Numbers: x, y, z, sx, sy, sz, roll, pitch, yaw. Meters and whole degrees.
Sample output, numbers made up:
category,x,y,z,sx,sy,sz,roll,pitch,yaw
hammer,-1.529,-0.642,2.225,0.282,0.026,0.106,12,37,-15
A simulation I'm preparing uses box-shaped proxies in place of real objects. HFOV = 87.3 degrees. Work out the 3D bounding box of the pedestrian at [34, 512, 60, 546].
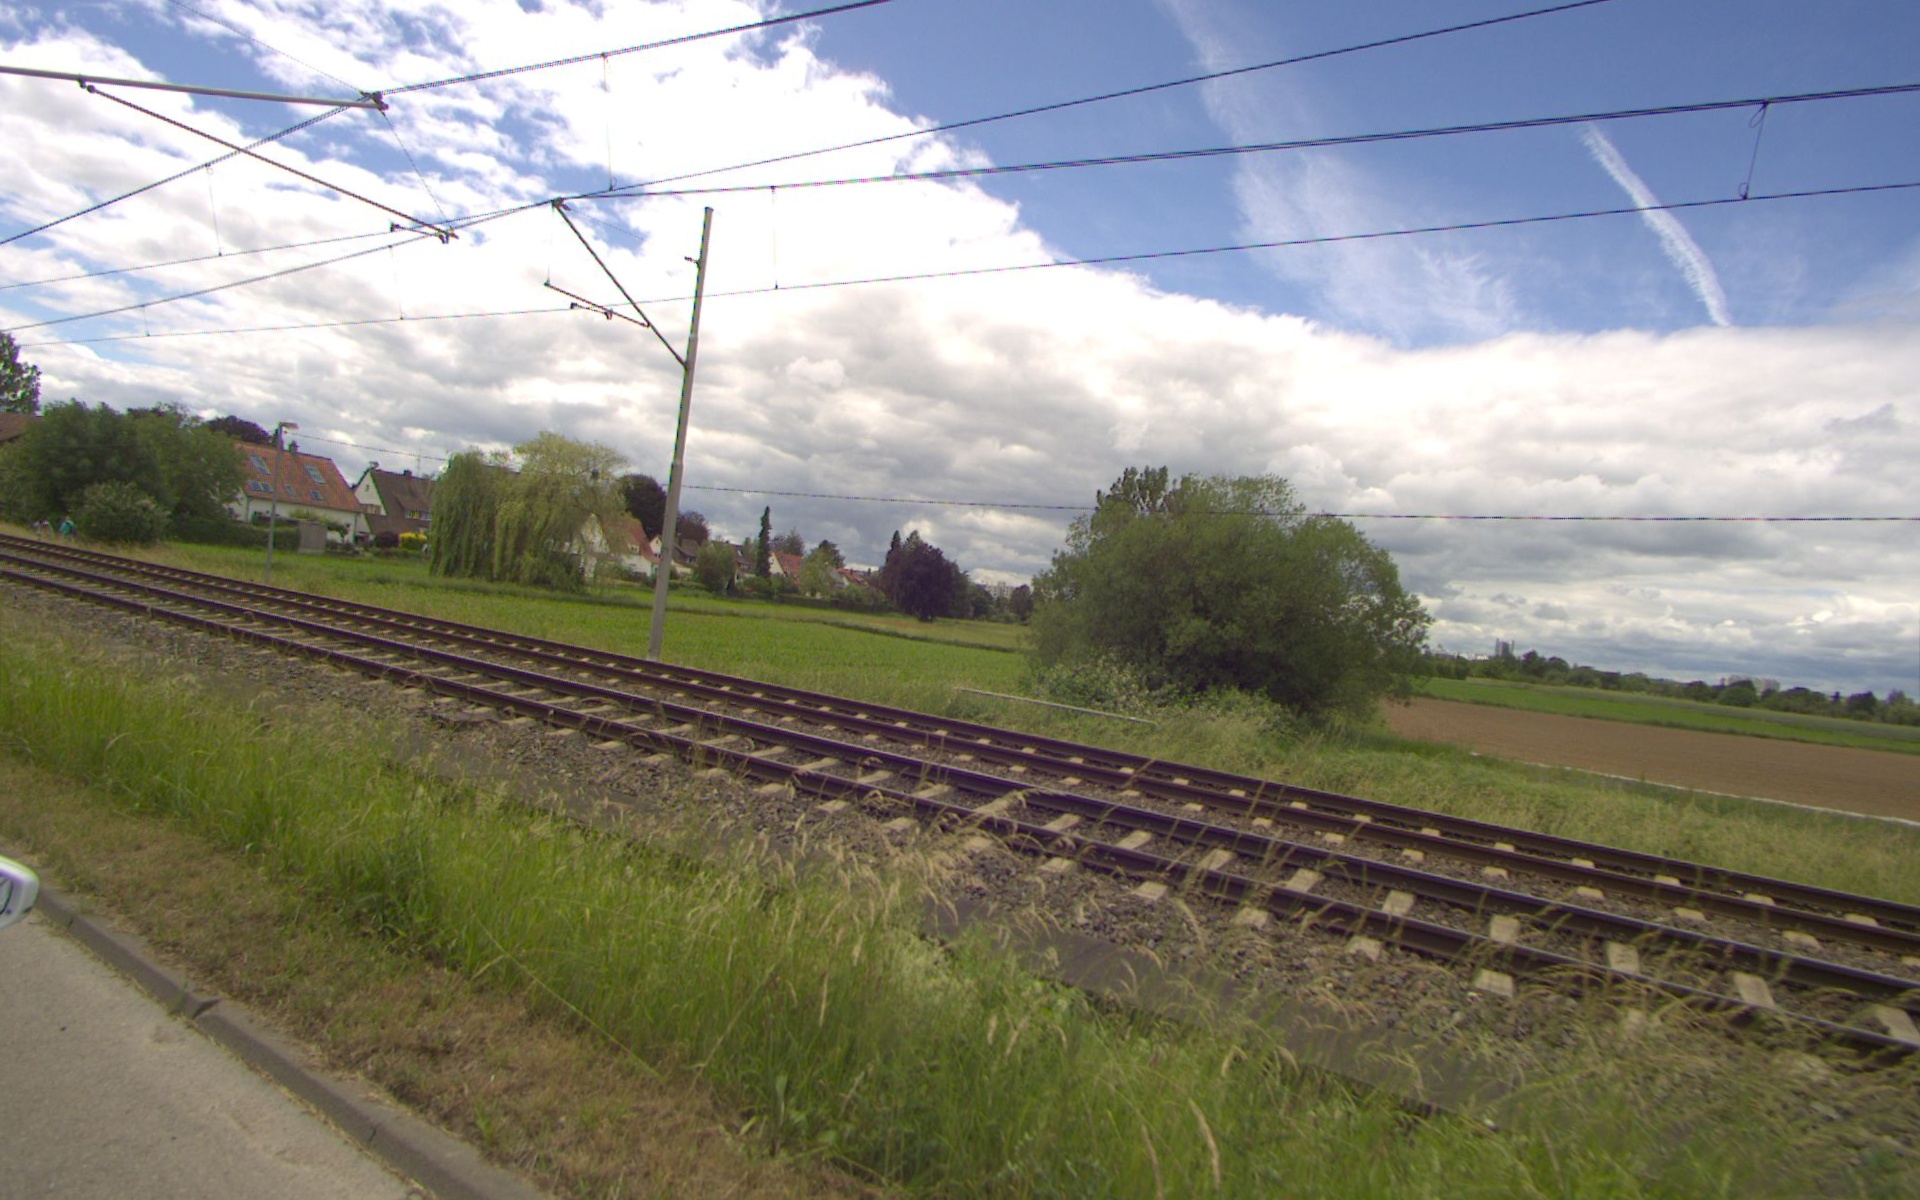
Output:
category,x,y,z,sx,sy,sz,roll,pitch,yaw
pedestrian,-42.560,-3.303,46.886,0.655,1.447,0.599,7,-1,32

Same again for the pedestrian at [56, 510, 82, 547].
category,x,y,z,sx,sy,sz,roll,pitch,yaw
pedestrian,-42.190,-3.370,47.639,0.574,1.641,0.617,7,-1,32
